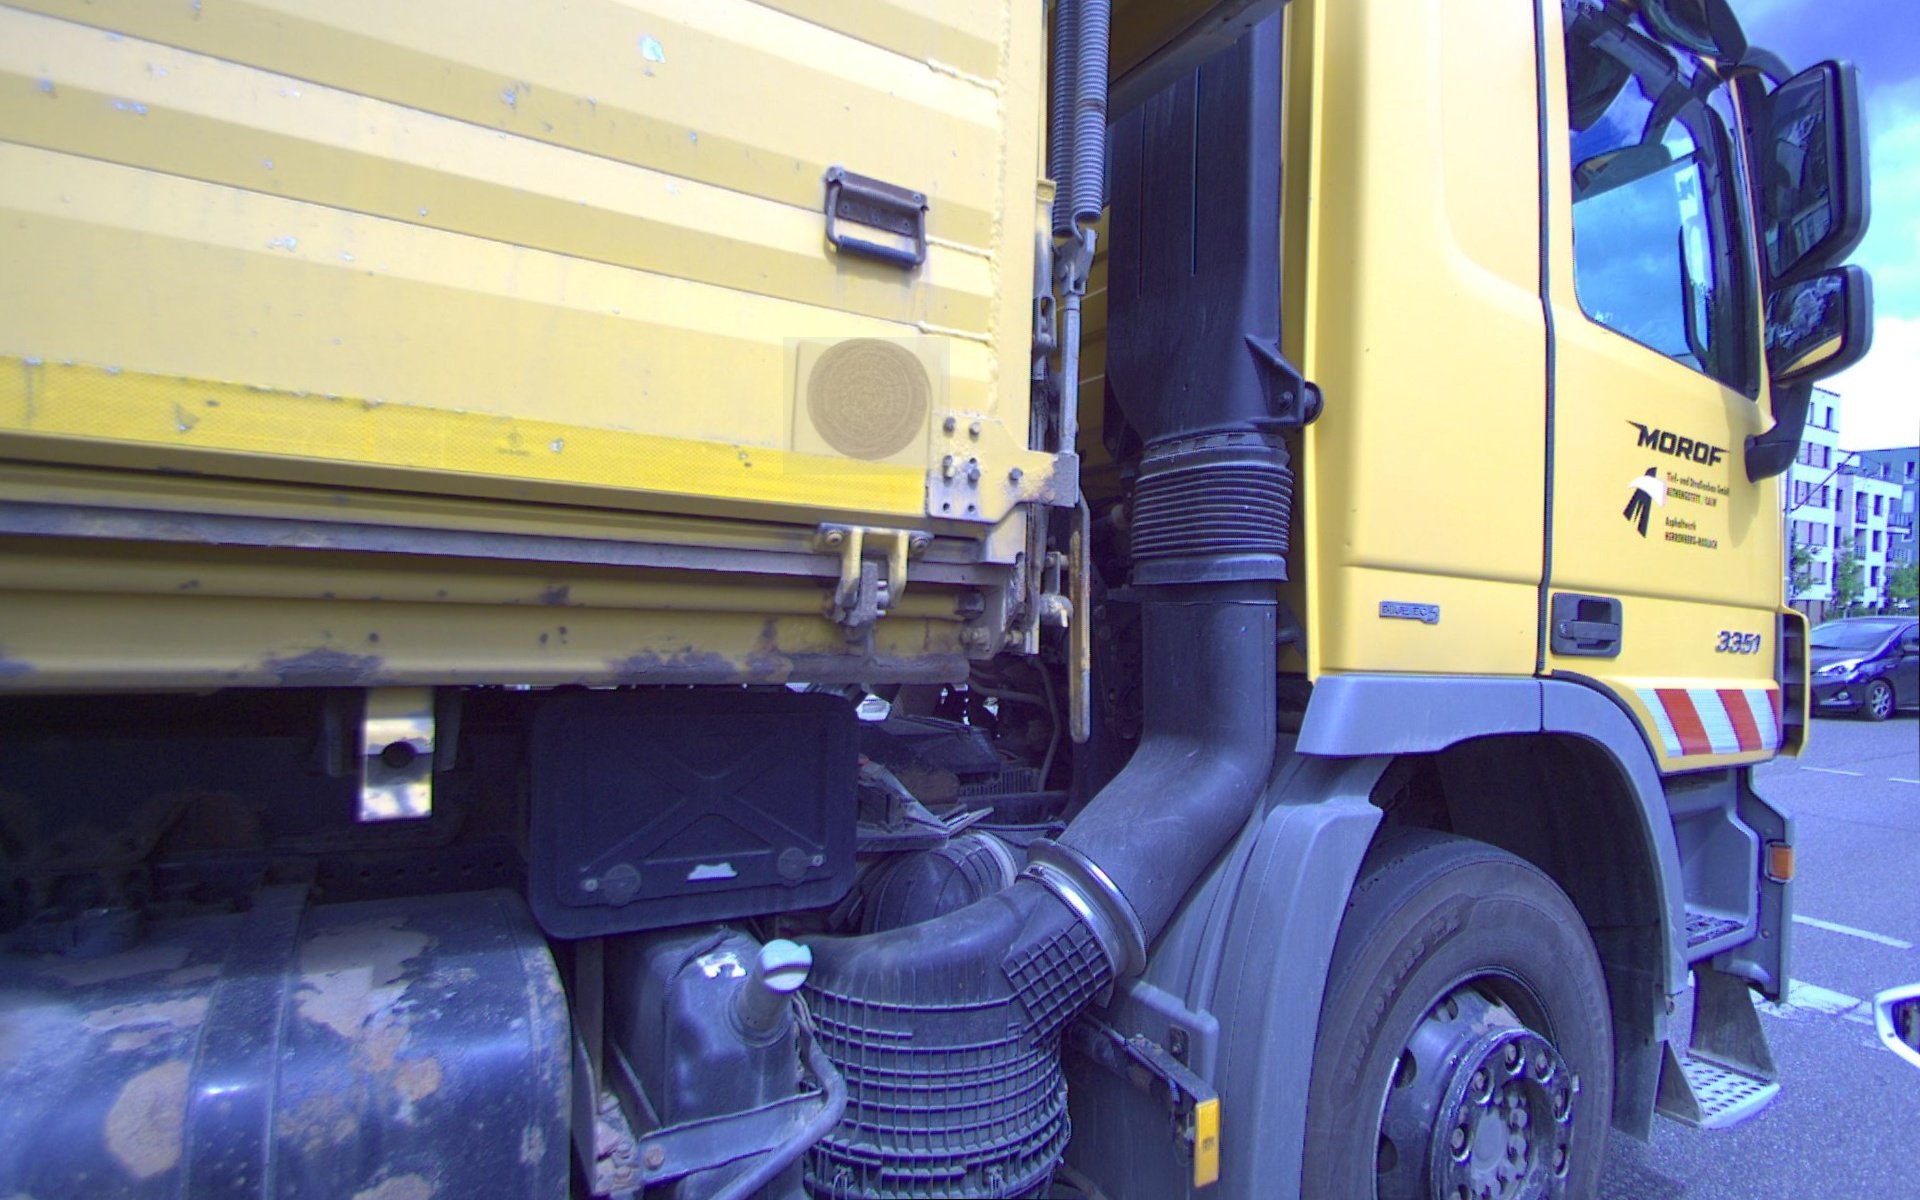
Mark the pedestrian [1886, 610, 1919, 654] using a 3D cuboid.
[{"bbox_3d":[35.645,1.201,37.812,0.837,1.607,0.793,2,0,-16],"label":"pedestrian"}]

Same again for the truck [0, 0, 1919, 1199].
[{"bbox_3d":[-1.548,-0.032,1.589,7.688,3.043,2.707,2,0,-30],"label":"truck"}]

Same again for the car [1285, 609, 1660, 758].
[{"bbox_3d":[6.030,0.871,11.757,4.222,1.460,1.756,1,0,-27],"label":"car"}]

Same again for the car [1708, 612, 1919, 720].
[{"bbox_3d":[13.969,0.972,15.419,3.972,1.489,1.779,1,0,-11],"label":"car"}]
